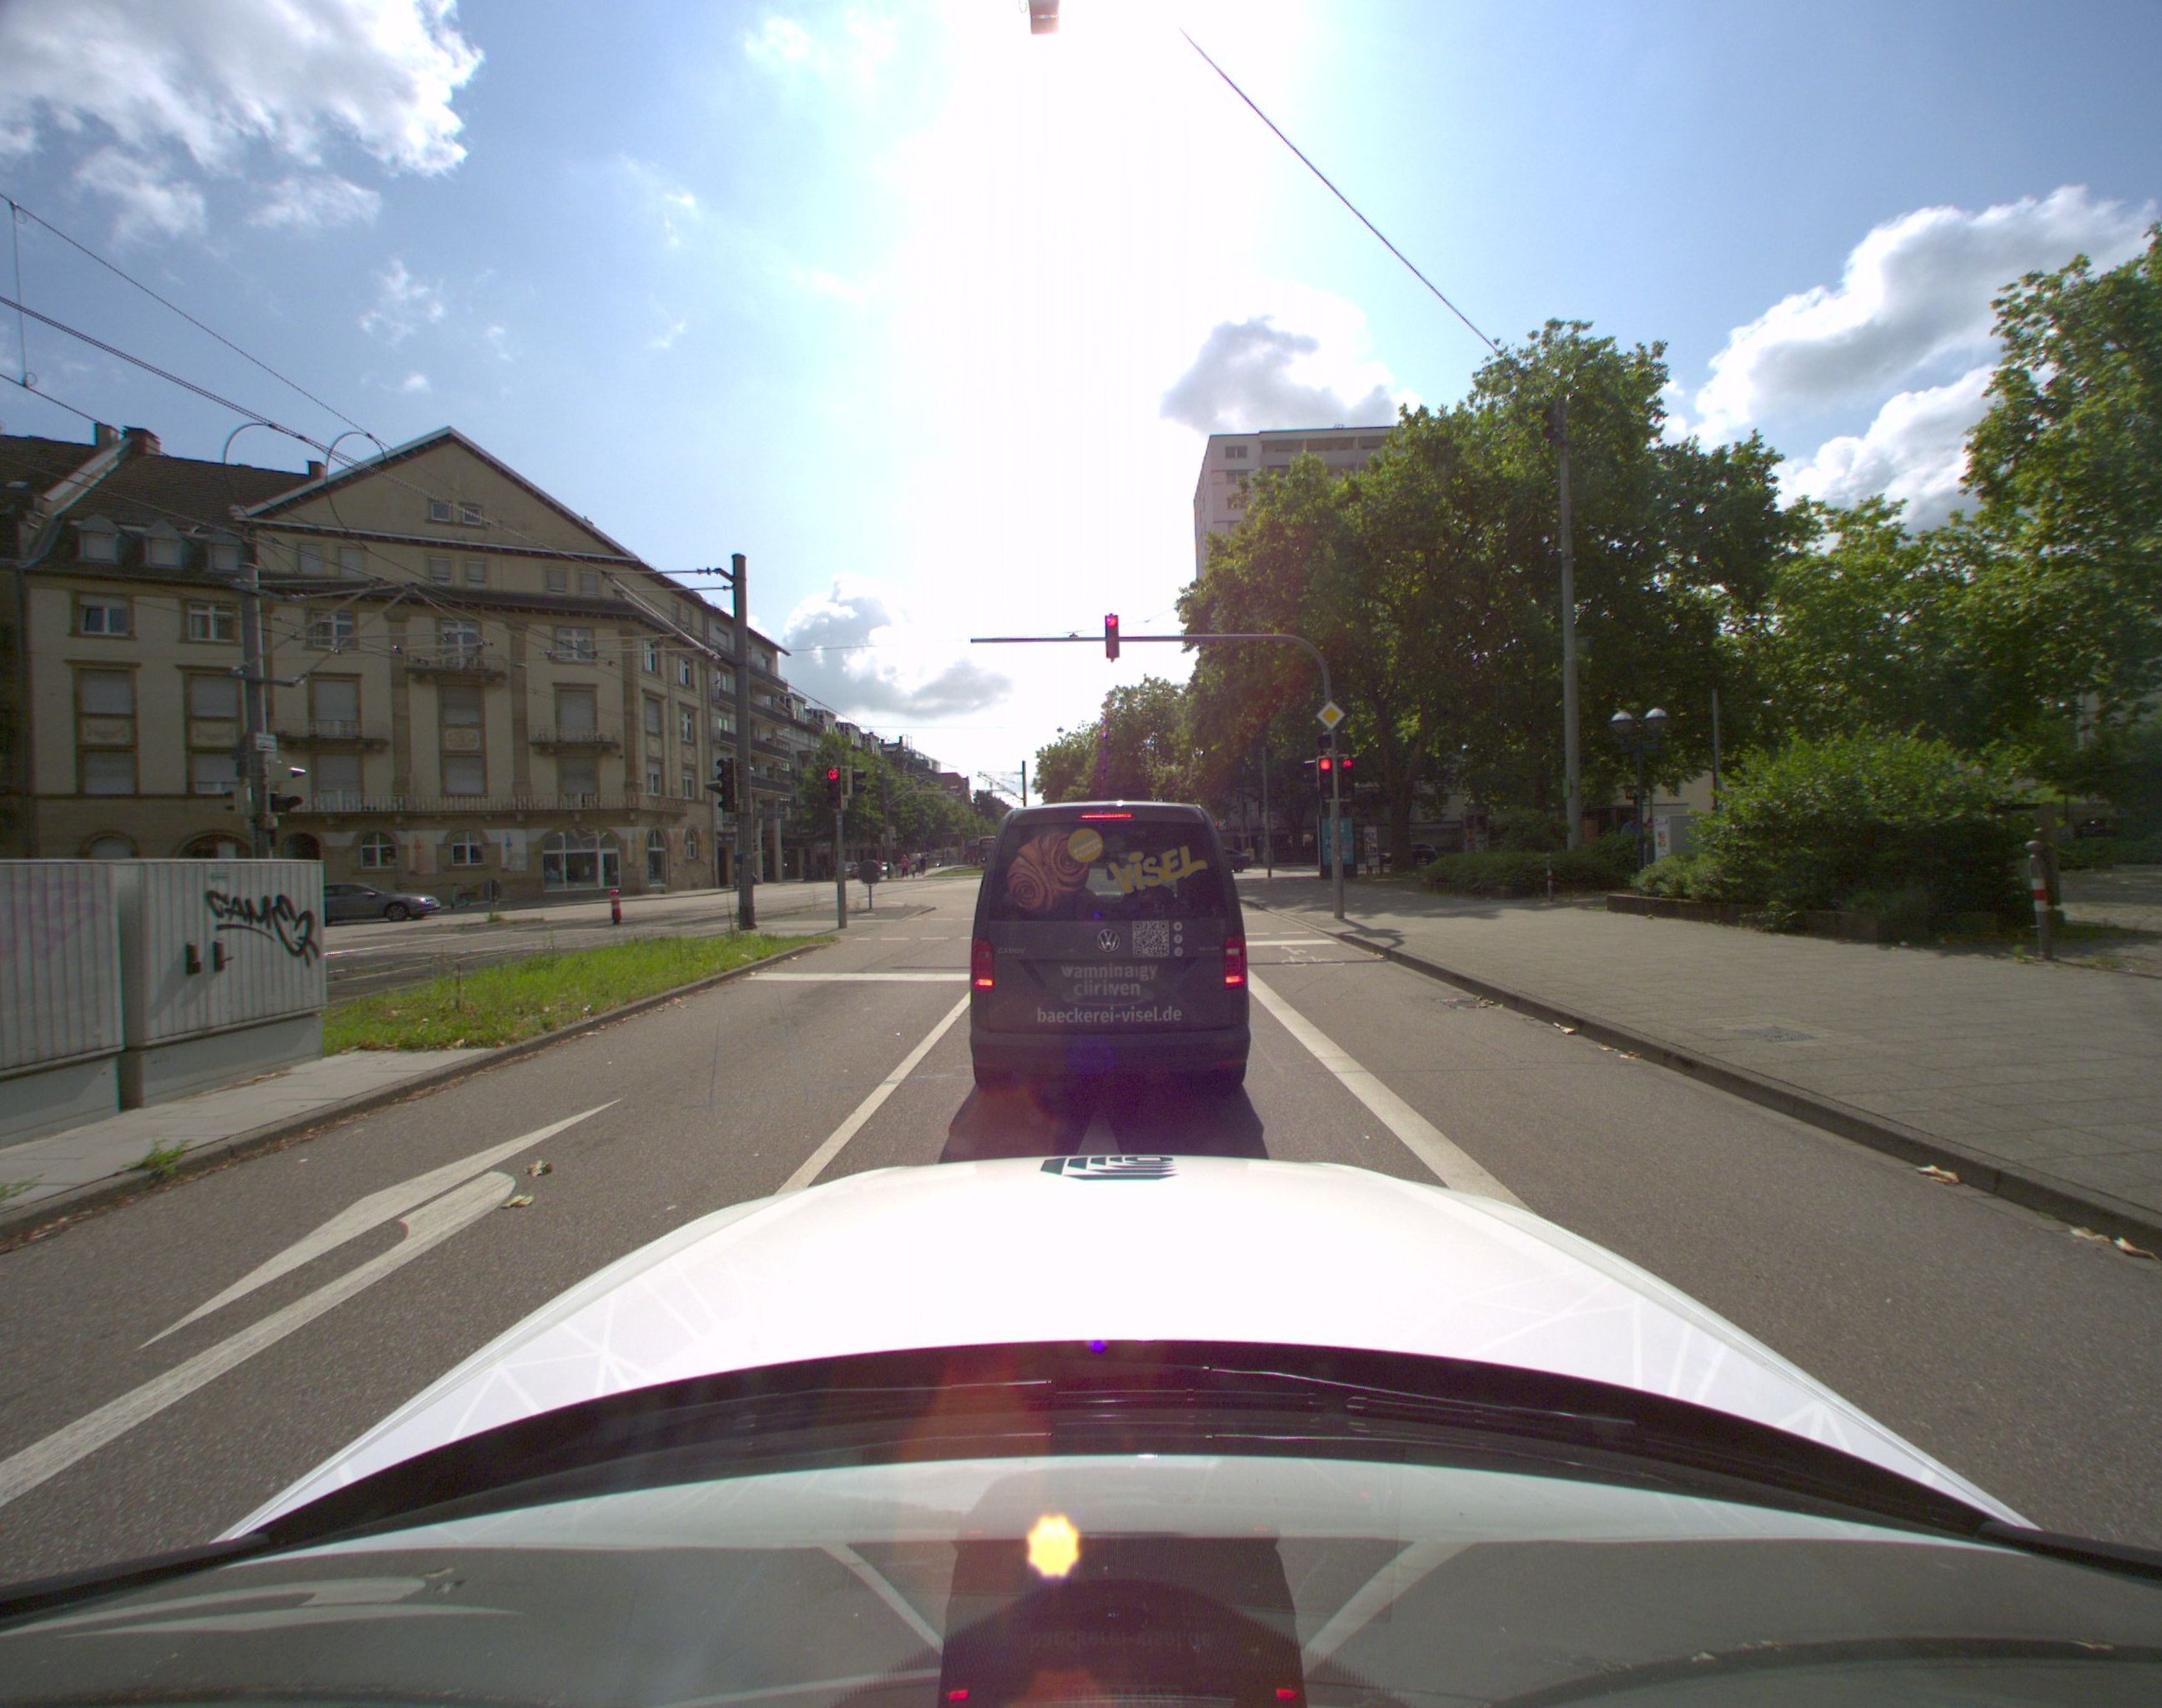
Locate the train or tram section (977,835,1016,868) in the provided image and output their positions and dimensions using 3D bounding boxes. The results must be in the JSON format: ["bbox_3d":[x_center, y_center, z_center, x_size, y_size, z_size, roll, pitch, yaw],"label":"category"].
[{"bbox_3d":[-9.024,-0.290,88.758,2.232,3.331,12.978,-2,0,2],"label":"train or tram section"}]

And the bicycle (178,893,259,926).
[{"bbox_3d":[-36.445,2.350,34.408,3.283,1.253,1.003,-2,0,18],"label":"bicycle"}]

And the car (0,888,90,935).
[{"bbox_3d":[-41.525,2.277,32.363,3.950,1.639,1.813,-2,0,26],"label":"car"}]

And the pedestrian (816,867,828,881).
[{"bbox_3d":[-23.178,1.799,72.808,0.751,1.211,0.704,-2,0,2],"label":"pedestrian"}]

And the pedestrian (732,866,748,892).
[{"bbox_3d":[-21.602,1.551,51.523,0.863,1.596,0.688,-2,0,-25],"label":"pedestrian"}]

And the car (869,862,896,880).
[{"bbox_3d":[-23.334,1.960,95.834,1.986,2.013,4.002,-2,0,2],"label":"car"}]

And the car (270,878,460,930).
[{"bbox_3d":[-24.534,1.662,28.124,4.574,1.436,1.694,-2,0,-22],"label":"car"}]

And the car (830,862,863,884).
[{"bbox_3d":[-23.696,1.932,82.534,1.986,2.013,4.002,-2,0,2],"label":"car"}]

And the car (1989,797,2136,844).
[{"bbox_3d":[46.886,-1.565,38.986,4.396,2.013,2.079,-2,0,3],"label":"car"}]

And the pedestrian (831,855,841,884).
[{"bbox_3d":[-17.092,1.056,56.848,0.476,2.013,0.419,-2,0,-4],"label":"pedestrian"}]

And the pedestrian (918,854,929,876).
[{"bbox_3d":[-12.324,0.822,63.845,0.656,1.685,0.656,-2,0,2],"label":"pedestrian"}]

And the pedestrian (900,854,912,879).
[{"bbox_3d":[-12.644,0.891,58.852,0.656,1.784,0.661,-2,0,2],"label":"pedestrian"}]

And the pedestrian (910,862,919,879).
[{"bbox_3d":[-12.036,1.192,58.796,0.462,1.144,0.435,-2,0,2],"label":"pedestrian"}]

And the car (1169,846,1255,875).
[{"bbox_3d":[7.328,0.333,45.565,4.499,1.390,1.694,-2,0,-22],"label":"car"}]

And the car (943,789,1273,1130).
[{"bbox_3d":[0.209,0.562,6.104,1.743,1.808,3.476,-1,0,2],"label":"car"}]

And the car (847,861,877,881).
[{"bbox_3d":[-23.442,1.808,87.324,1.986,2.013,4.002,-2,0,2],"label":"car"}]

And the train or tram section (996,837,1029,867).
[{"bbox_3d":[-8.499,-0.273,102.265,2.232,3.331,14.021,-2,0,2],"label":"train or tram section"}]
